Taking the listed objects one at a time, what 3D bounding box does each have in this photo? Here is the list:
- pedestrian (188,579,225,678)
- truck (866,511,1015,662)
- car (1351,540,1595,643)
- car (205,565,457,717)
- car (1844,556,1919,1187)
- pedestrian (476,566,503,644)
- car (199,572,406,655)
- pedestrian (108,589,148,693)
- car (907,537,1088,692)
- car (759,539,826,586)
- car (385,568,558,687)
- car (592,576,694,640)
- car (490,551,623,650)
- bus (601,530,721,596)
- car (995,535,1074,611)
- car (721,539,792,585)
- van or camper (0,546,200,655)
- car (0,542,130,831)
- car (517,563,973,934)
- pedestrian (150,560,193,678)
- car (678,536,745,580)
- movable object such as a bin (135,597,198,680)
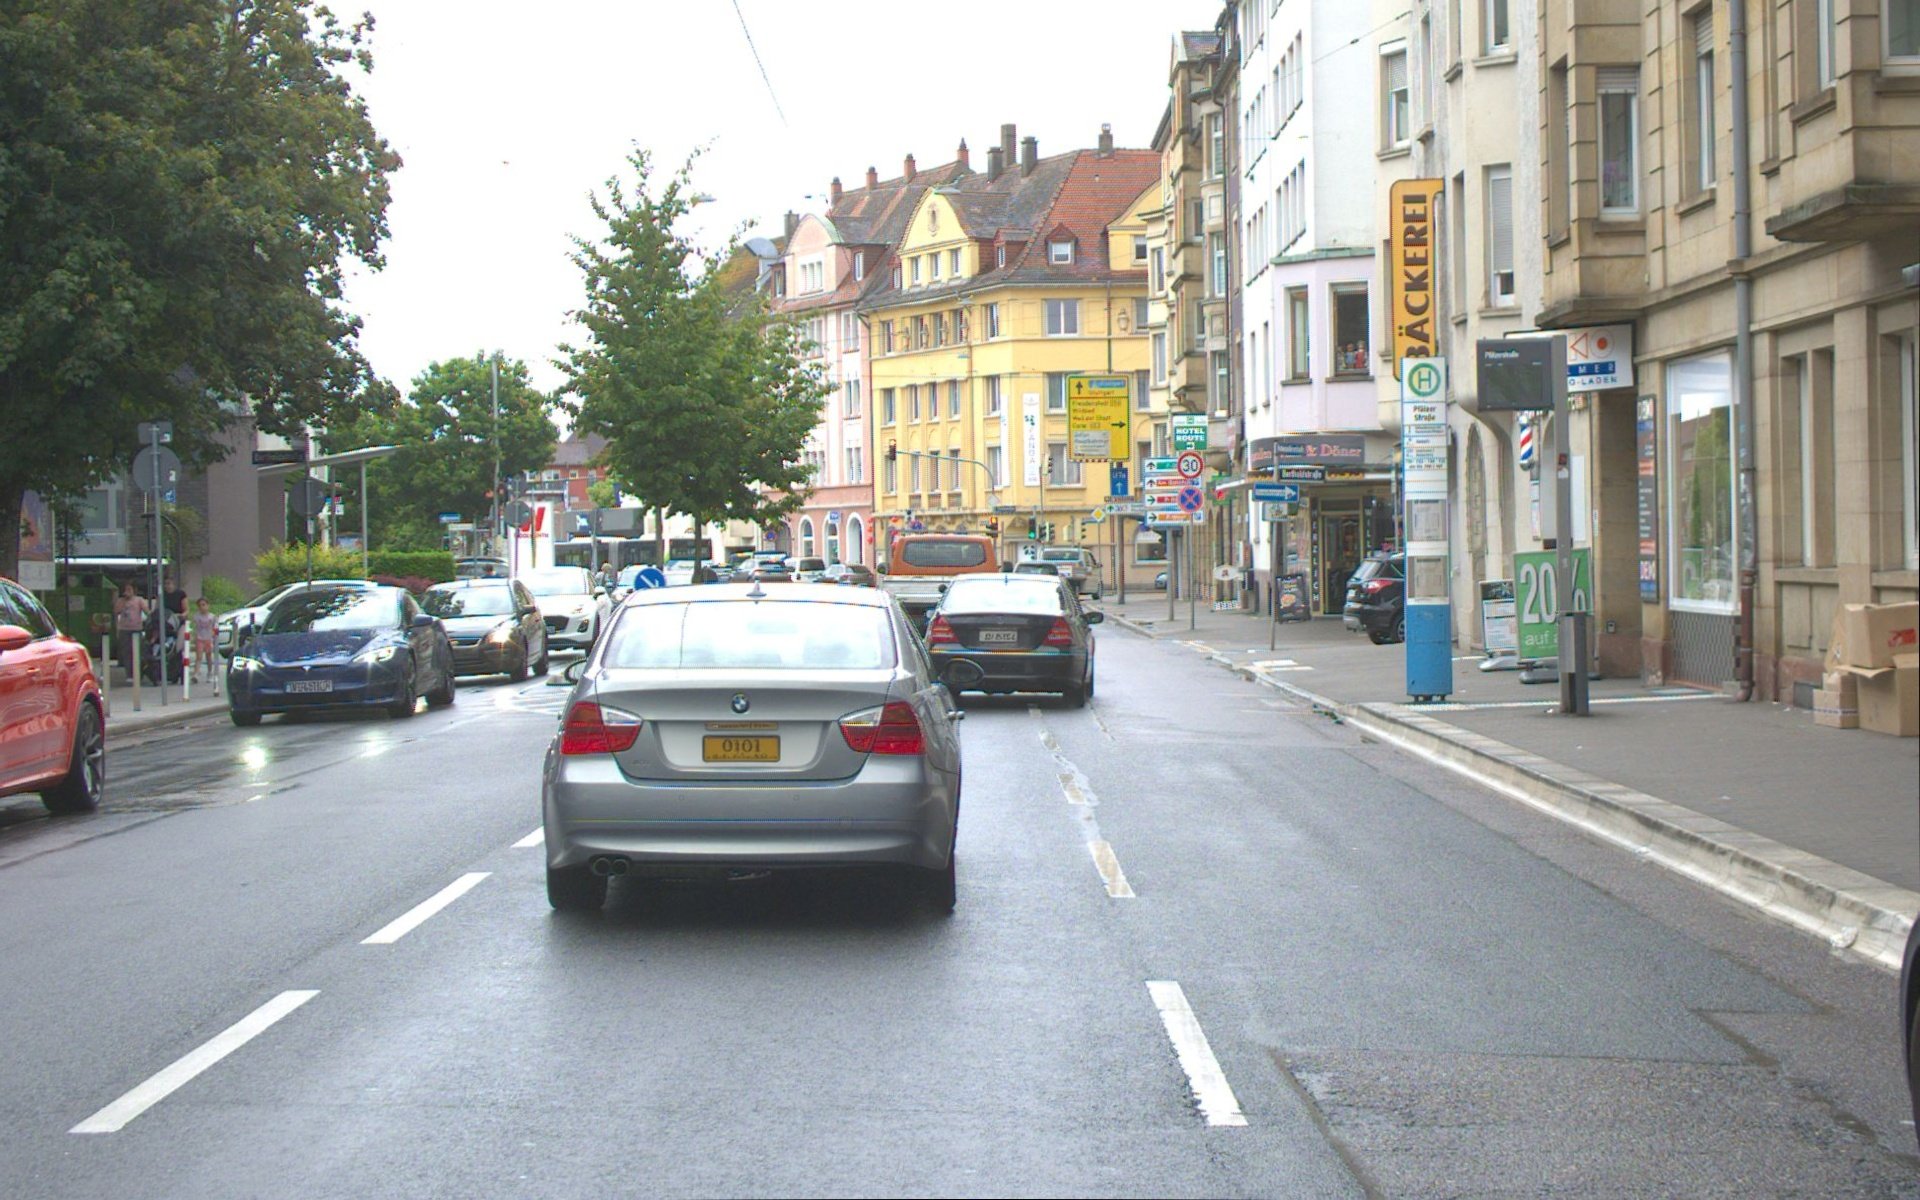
[{"bbox_3d":[-10.778,0.409,49.177,0.433,1.405,0.481,0,0,-3],"label":"pedestrian"},{"bbox_3d":[-0.316,-0.232,53.741,2.224,2.242,5.063,0,1,-1],"label":"truck"},{"bbox_3d":[8.930,-0.164,60.049,4.139,1.766,1.873,0,1,7],"label":"car"},{"bbox_3d":[-6.984,0.406,38.683,1.955,1.506,4.913,-2,1,-1],"label":"car"},{"bbox_3d":[3.229,0.712,7.169,1.730,1.542,3.982,1,1,0],"label":"car"},{"bbox_3d":[-10.684,0.113,78.048,0.574,1.756,0.581,-1,1,-6],"label":"pedestrian"},{"bbox_3d":[-12.849,0.245,67.230,3.577,1.564,1.741,0,1,-33],"label":"car"},{"bbox_3d":[-11.888,0.577,49.126,0.459,1.468,0.530,0,0,-3],"label":"pedestrian"},{"bbox_3d":[0.345,0.145,36.642,1.799,1.558,4.000,0,0,-1],"label":"car"},{"bbox_3d":[-8.165,-1.835,167.445,1.761,2.173,4.001,2,0,-25],"label":"car"},{"bbox_3d":[-6.905,0.354,48.938,1.955,1.551,4.244,-1,1,-2],"label":"car"},{"bbox_3d":[-7.487,0.170,81.555,2.013,1.421,4.500,0,1,0],"label":"car"},{"bbox_3d":[-6.838,-0.024,58.630,1.819,1.563,4.089,-2,1,-1],"label":"car"},{"bbox_3d":[-14.565,-1.798,166.943,2.908,3.094,9.145,-2,1,-24],"label":"bus"},{"bbox_3d":[2.003,-0.747,93.536,1.993,2.007,4.000,0,1,-1],"label":"car"},{"bbox_3d":[-9.109,-1.713,153.646,1.993,2.007,4.001,-1,1,-21],"label":"car"},{"bbox_3d":[-17.033,-0.001,64.708,4.951,2.007,2.000,0,1,-29],"label":"van or camper"},{"bbox_3d":[-6.907,0.562,21.654,2.106,1.758,5.060,-2,0,0],"label":"car"},{"bbox_3d":[-0.896,0.589,15.799,1.799,1.459,4.371,0,0,-1],"label":"car"},{"bbox_3d":[-11.269,0.265,49.125,0.497,1.667,0.553,0,0,-3],"label":"pedestrian"},{"bbox_3d":[-11.548,-1.941,159.382,1.993,2.007,4.001,-1,1,-21],"label":"car"},{"bbox_3d":[-11.181,0.536,48.437,0.703,1.130,0.966,1,0,-3],"label":"movable object such as a bin"}]
